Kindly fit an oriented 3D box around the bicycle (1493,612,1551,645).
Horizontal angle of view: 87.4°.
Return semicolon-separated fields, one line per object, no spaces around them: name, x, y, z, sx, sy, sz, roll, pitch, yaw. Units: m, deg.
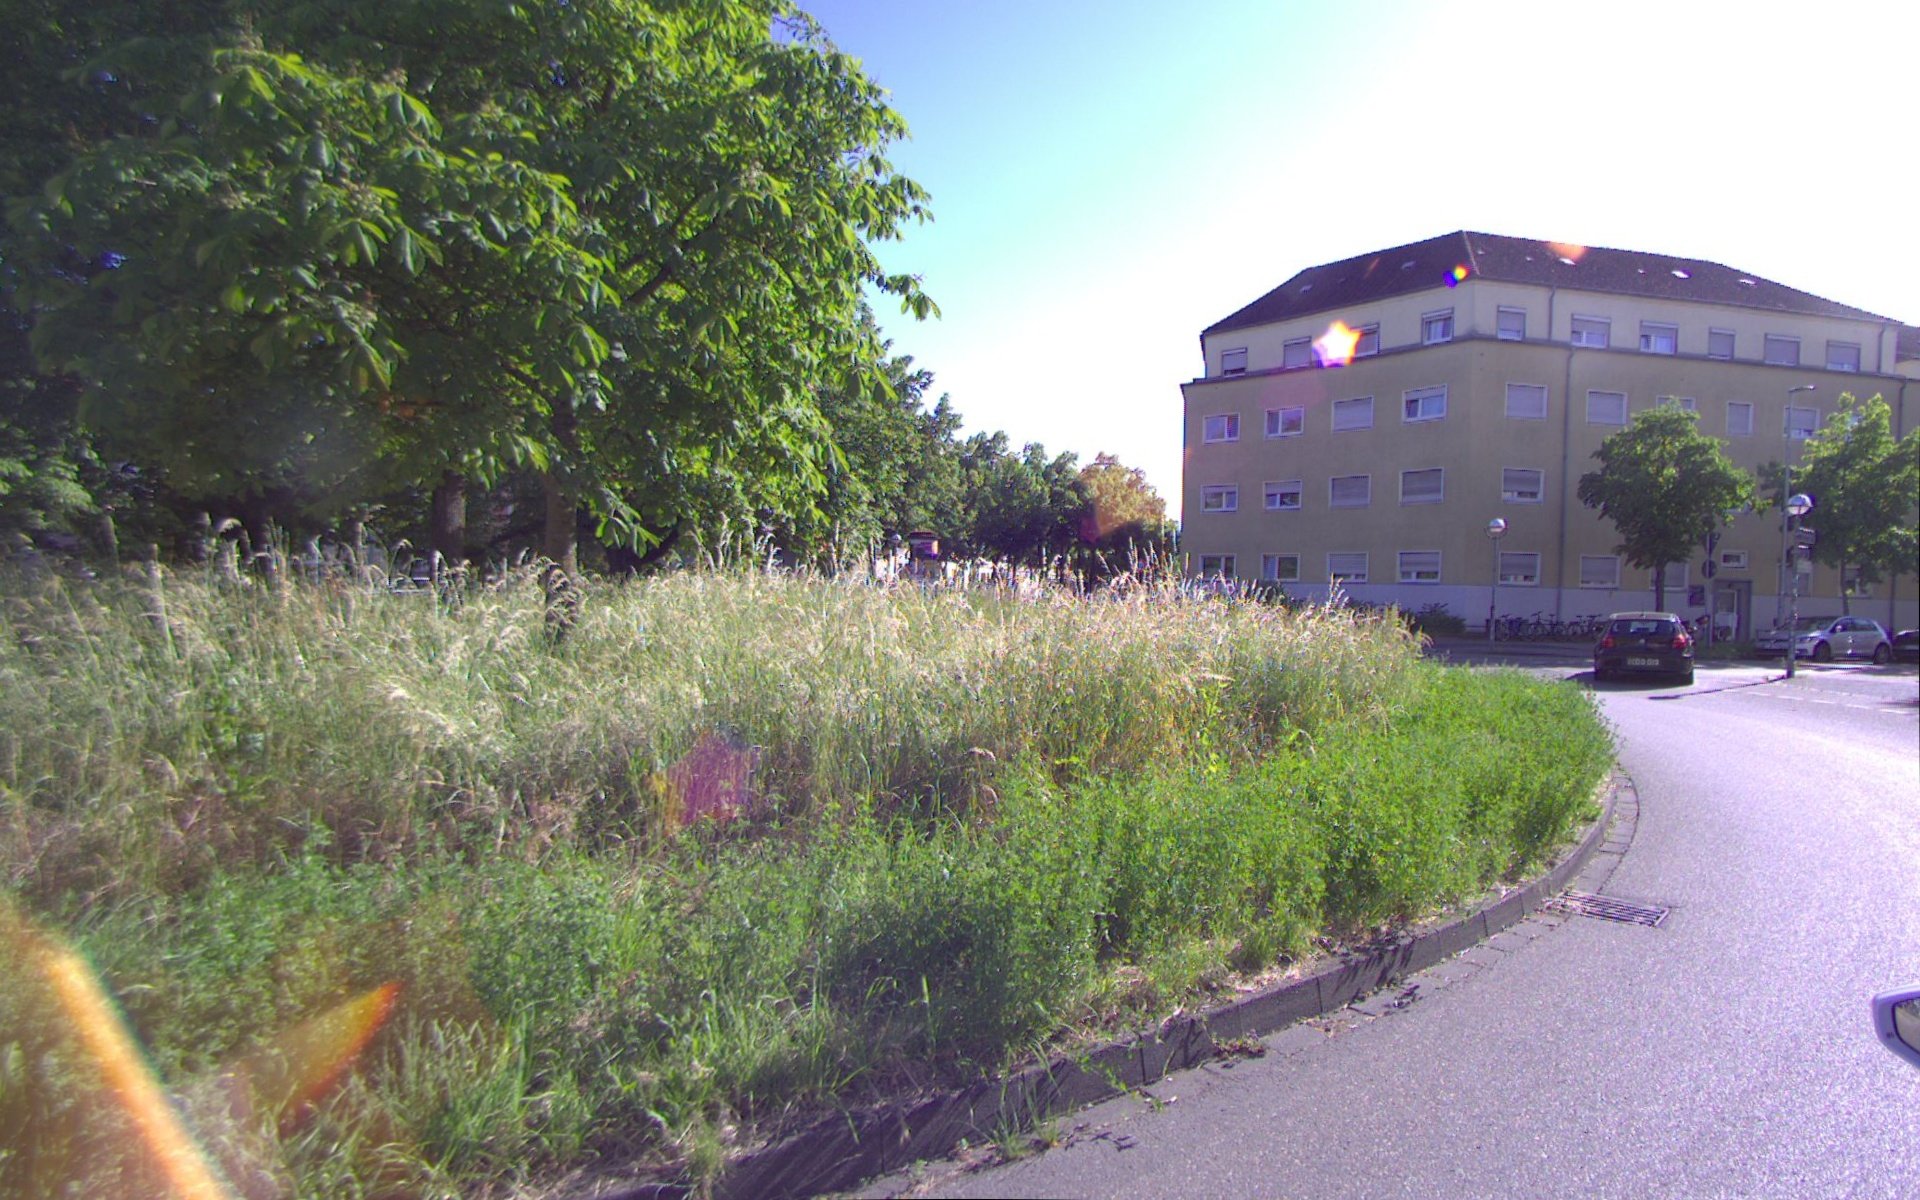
bicycle;20.501;1.035;36.687;1.764;1.122;0.500;1;0;19

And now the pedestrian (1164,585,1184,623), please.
pedestrian;8.788;0.159;41.222;0.809;1.544;0.697;0;1;13

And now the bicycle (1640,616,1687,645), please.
bicycle;26.811;1.158;38.272;1.421;1.040;0.500;1;0;-1

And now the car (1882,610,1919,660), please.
car;32.495;1.174;32.767;3.935;1.597;1.794;2;0;-17

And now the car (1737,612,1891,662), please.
car;26.636;1.143;31.345;3.935;1.430;1.797;2;0;-17

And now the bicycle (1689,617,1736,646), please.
bicycle;28.956;1.212;38.665;1.421;1.040;0.500;1;0;-1

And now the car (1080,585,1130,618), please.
car;6.962;0.081;47.888;1.698;1.430;4.491;2;0;16

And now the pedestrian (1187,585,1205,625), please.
pedestrian;9.223;0.197;39.238;0.637;1.544;0.697;0;1;16

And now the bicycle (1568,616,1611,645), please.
bicycle;23.523;1.128;37.516;1.425;1.040;0.498;1;0;-15

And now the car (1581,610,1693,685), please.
car;14.598;0.941;21.681;1.840;1.438;3.988;0;0;34

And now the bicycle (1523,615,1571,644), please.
bicycle;21.766;1.096;37.264;1.421;1.040;0.500;1;0;19

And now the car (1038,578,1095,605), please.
car;8.472;-0.679;80.170;2.154;2.014;4.153;2;0;-38
